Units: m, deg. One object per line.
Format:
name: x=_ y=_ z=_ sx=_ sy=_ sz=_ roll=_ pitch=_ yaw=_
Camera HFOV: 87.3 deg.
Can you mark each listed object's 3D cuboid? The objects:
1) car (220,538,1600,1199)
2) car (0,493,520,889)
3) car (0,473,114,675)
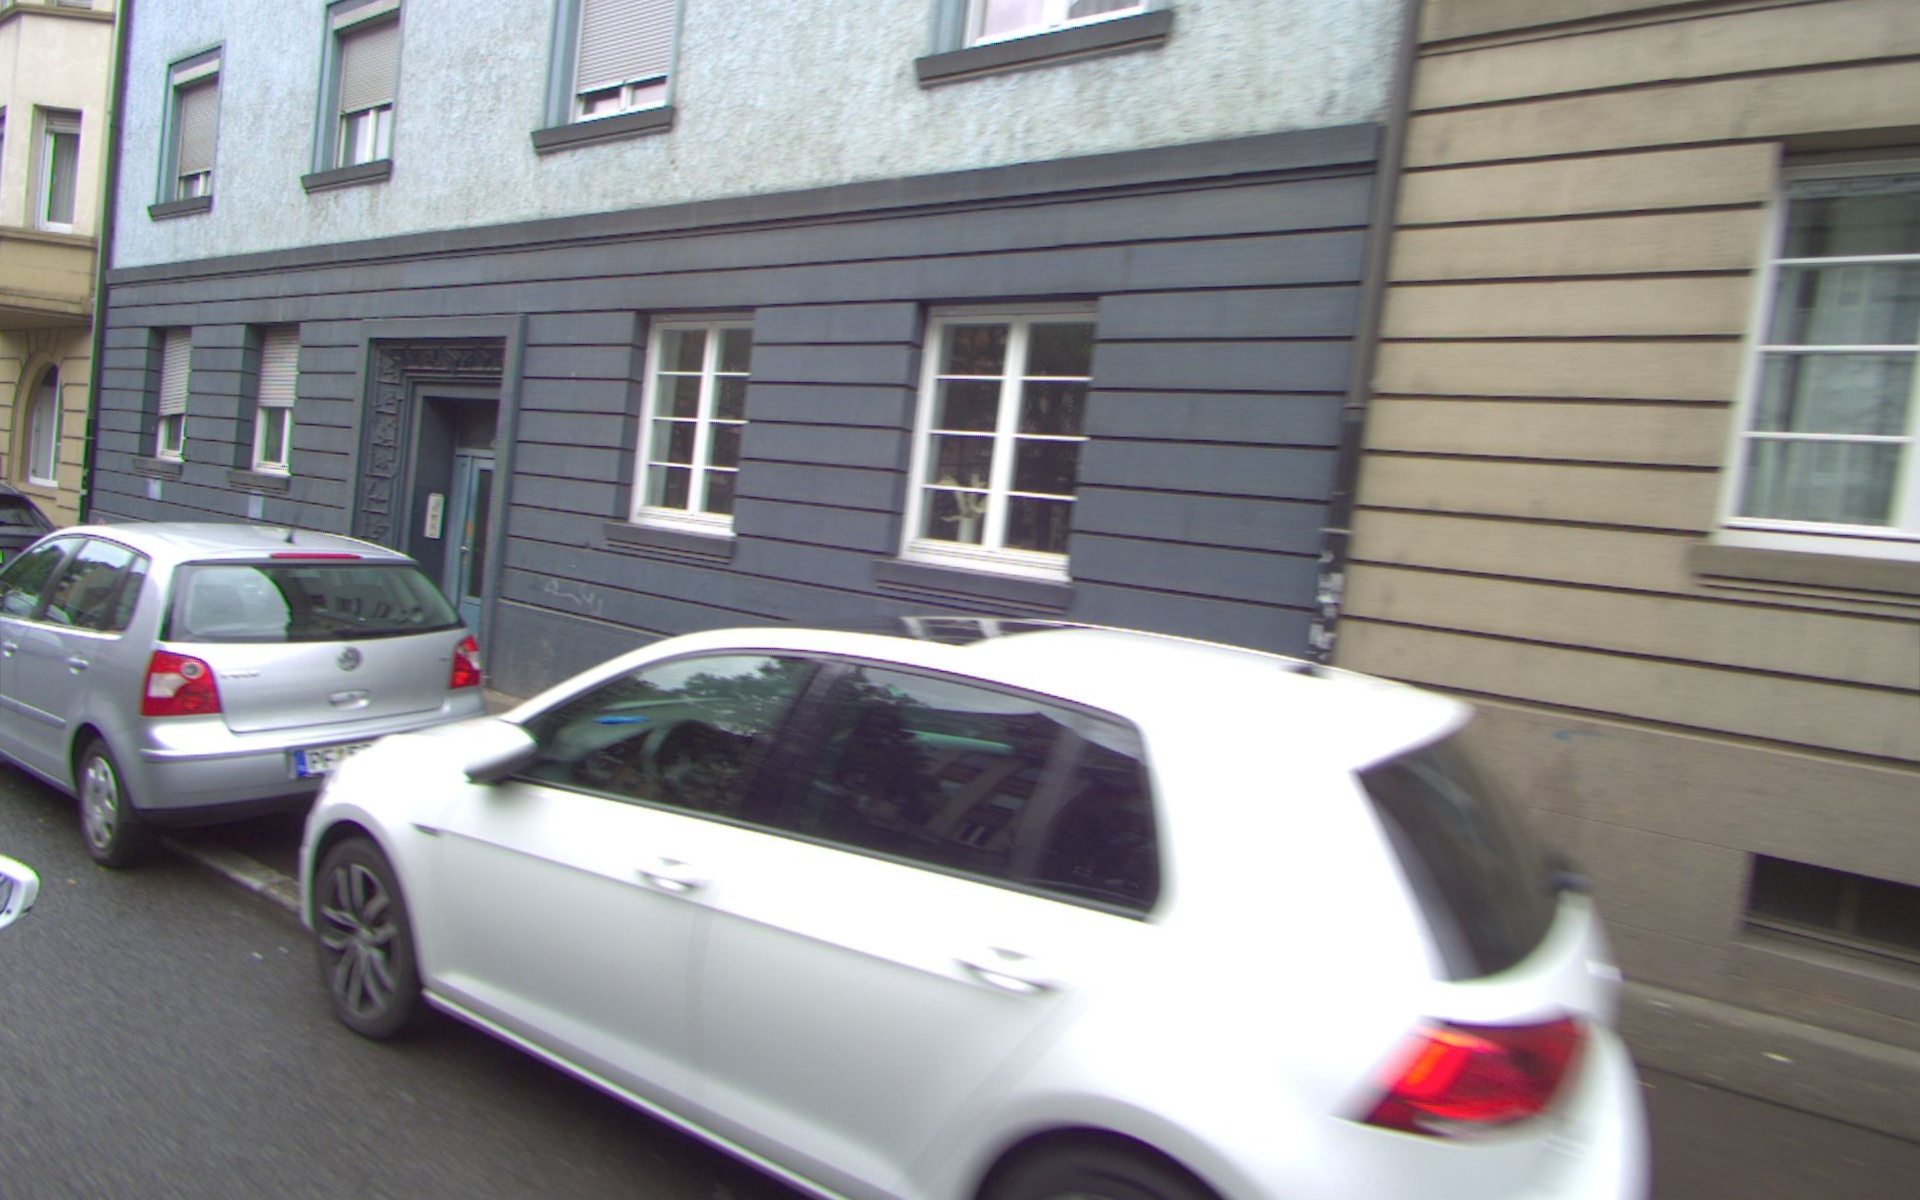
car: x=-0.412 y=0.716 z=3.152 sx=3.908 sy=1.449 sz=1.728 roll=7 pitch=4 yaw=32
car: x=-4.245 y=0.249 z=5.528 sx=3.535 sy=1.449 sz=1.582 roll=7 pitch=4 yaw=32
car: x=-9.389 y=-0.408 z=8.814 sx=4.222 sy=1.579 sz=1.818 roll=7 pitch=2 yaw=32
